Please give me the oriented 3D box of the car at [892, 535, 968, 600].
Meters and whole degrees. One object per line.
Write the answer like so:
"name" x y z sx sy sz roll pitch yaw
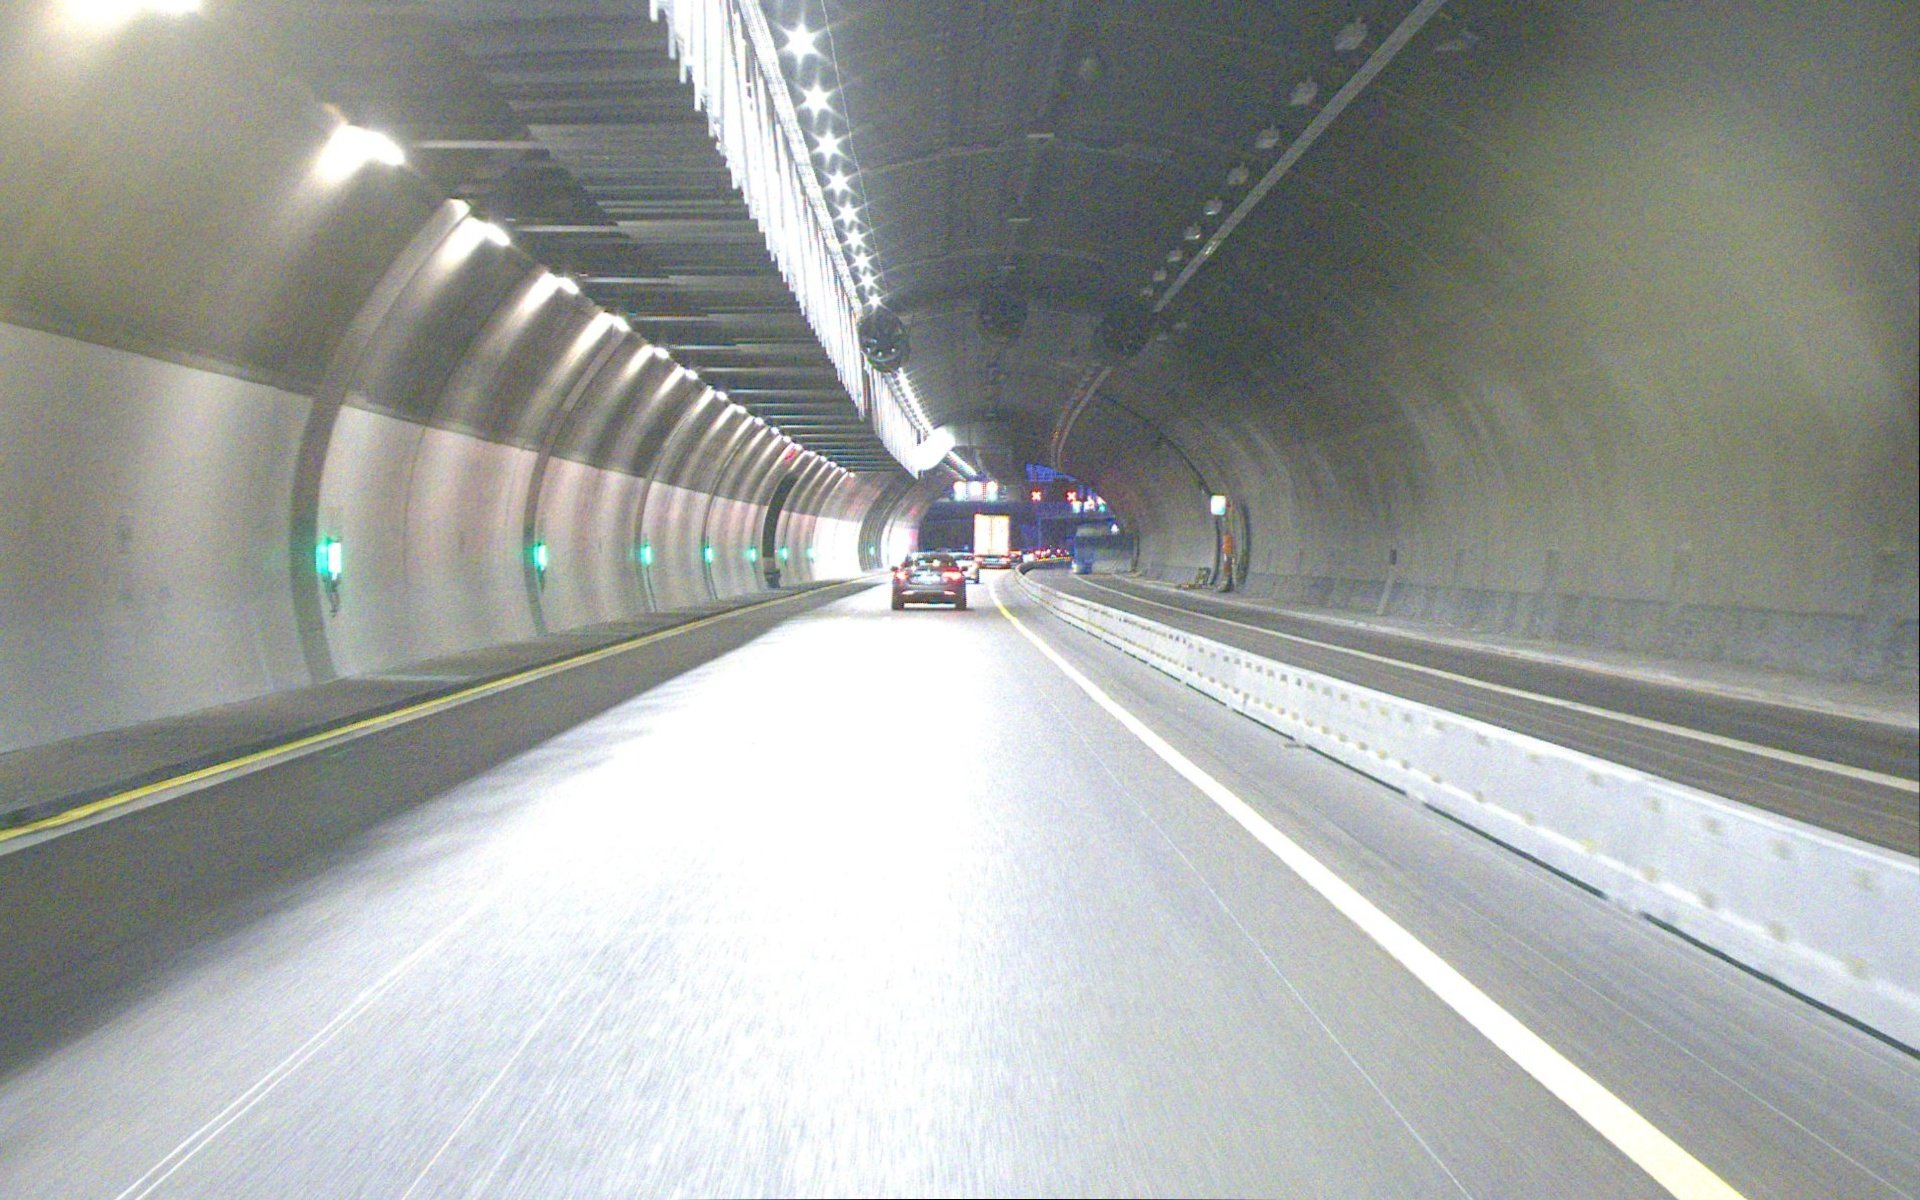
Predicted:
"car" -0.780 -0.822 86.984 1.887 1.601 4.000 0 1 -1

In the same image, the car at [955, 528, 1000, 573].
"car" 0.788 -2.261 157.178 1.993 2.007 4.000 0 1 0

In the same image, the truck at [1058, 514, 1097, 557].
"truck" 8.919 -4.896 262.096 2.892 3.261 8.401 0 1 2

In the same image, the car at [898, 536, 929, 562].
"car" -2.873 -3.111 211.504 1.827 1.601 4.000 0 1 -1

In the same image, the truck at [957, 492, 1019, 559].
"truck" 2.202 -5.622 261.176 4.546 4.970 9.599 0 1 1
